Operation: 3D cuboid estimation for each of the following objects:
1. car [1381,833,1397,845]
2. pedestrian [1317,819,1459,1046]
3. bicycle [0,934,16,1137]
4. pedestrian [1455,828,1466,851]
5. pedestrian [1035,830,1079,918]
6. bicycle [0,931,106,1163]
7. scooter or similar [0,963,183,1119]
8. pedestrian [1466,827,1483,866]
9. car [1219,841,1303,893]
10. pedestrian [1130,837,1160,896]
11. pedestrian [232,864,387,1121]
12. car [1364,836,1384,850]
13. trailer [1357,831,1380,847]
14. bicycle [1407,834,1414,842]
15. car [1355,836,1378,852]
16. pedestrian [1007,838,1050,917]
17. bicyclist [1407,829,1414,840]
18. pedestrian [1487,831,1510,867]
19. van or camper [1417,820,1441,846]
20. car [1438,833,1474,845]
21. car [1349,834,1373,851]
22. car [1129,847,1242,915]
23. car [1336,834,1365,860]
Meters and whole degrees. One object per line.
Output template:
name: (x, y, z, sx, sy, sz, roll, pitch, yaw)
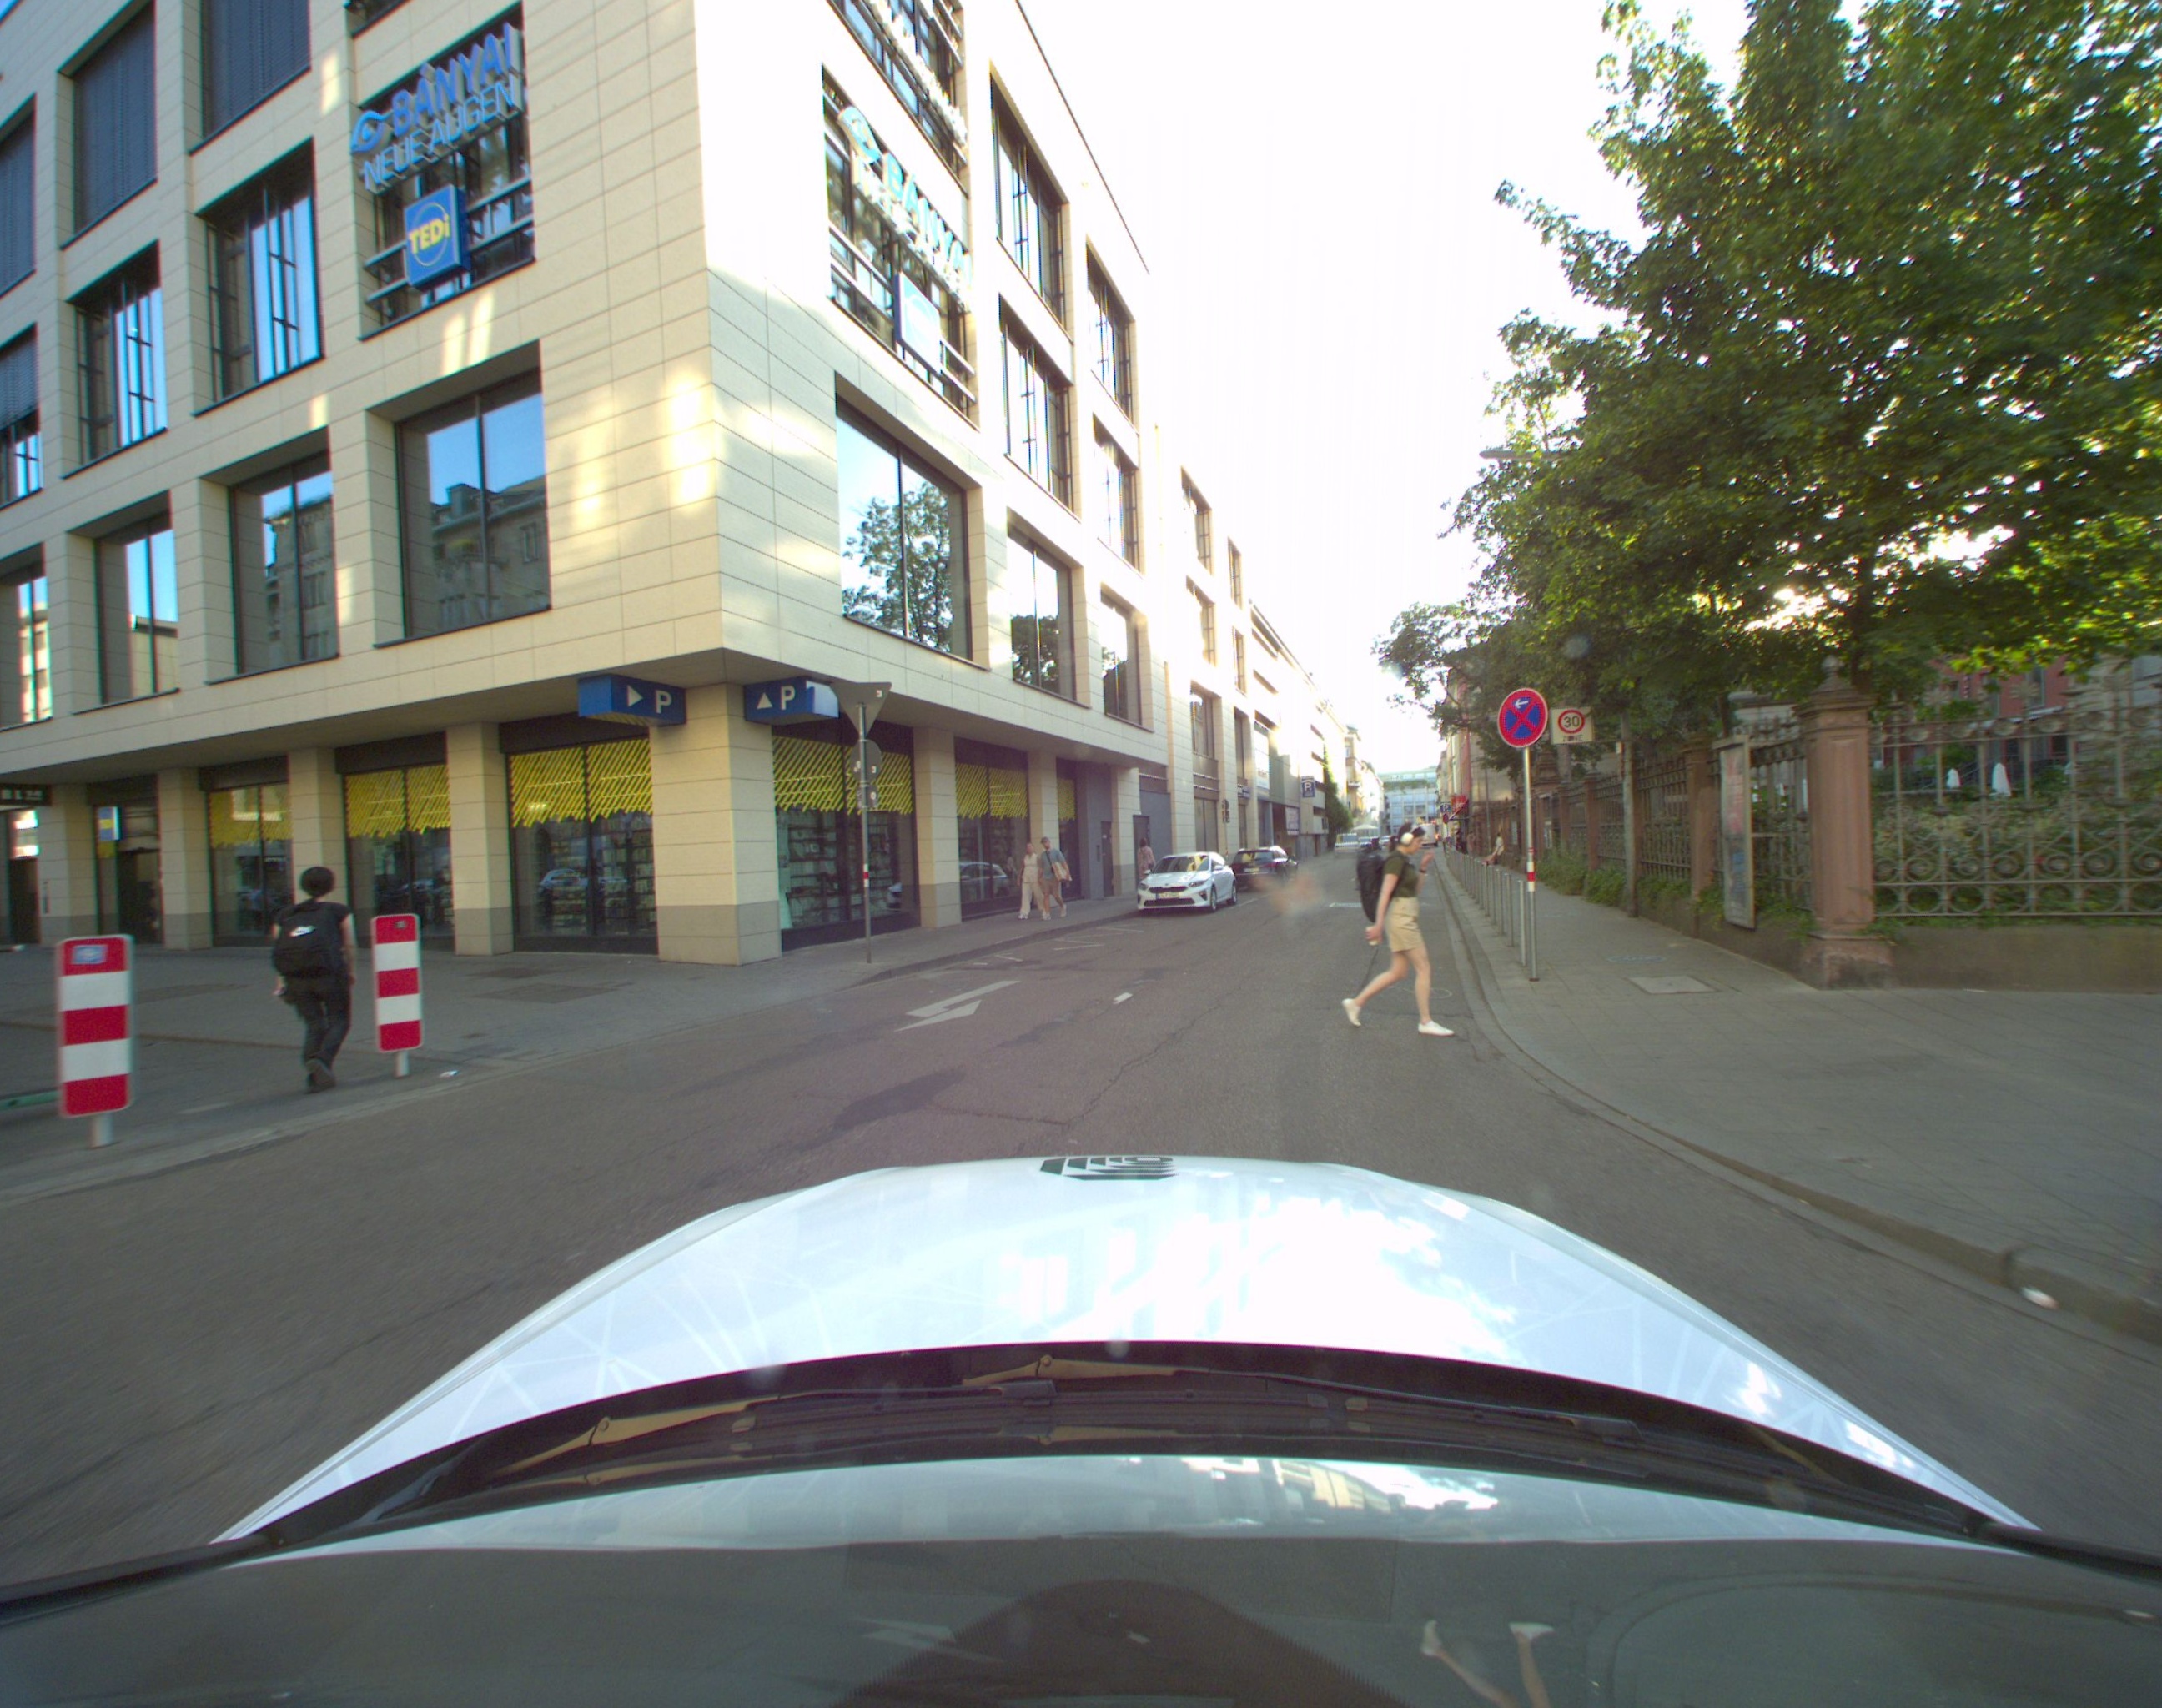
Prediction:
car: (45.049, -2.207, 119.149, 1.976, 1.684, 4.022, -2, 0, 23)
pedestrian: (2.515, 0.594, 6.719, 0.640, 1.723, 0.837, -2, 0, -33)
bicycle: (-7.337, 1.149, 4.256, 0.576, 1.255, 2.054, -2, 0, 19)
pedestrian: (28.530, -1.108, 61.216, 0.656, 1.666, 0.627, -4, 0, 23)
pedestrian: (-0.505, 0.420, 17.335, 0.666, 1.836, 0.651, -2, 0, 20)
bicycle: (-6.605, 1.117, 4.043, 0.658, 1.255, 2.151, -2, 0, 19)
scooter or similar: (-6.856, 1.249, 5.626, 0.383, 0.884, 0.774, -2, 0, 21)
pedestrian: (17.440, -0.336, 36.121, 0.480, 1.658, 0.621, -4, 0, 16)
car: (6.419, 0.408, 28.579, 1.866, 1.598, 4.717, -2, 1, 25)
pedestrian: (1.911, 0.363, 24.431, 0.666, 1.744, 0.651, -2, 0, 23)
pedestrian: (-5.480, 0.910, 5.841, 0.621, 1.658, 0.863, -2, 0, -33)
car: (31.416, -1.188, 87.252, 1.867, 1.453, 4.021, -2, 1, 21)
trailer: (29.342, -1.518, 83.005, 1.976, 1.557, 4.021, -2, 0, 22)
bicycle: (56.768, -2.755, 140.251, 0.966, 1.280, 2.769, -2, 0, 23)
car: (27.716, -0.997, 78.948, 1.867, 1.453, 4.021, -2, 1, 21)
pedestrian: (-1.137, 0.498, 17.578, 0.666, 1.675, 0.651, -2, 0, 20)
bicyclist: (56.760, -3.377, 140.291, 0.981, 1.868, 0.712, -2, 0, 23)
pedestrian: (18.179, -0.233, 35.475, 0.743, 1.499, 0.621, -4, 0, 17)
van or camper: (39.622, -2.333, 92.791, 2.238, 2.607, 5.140, -6, -2, 23)
car: (46.727, -1.832, 101.505, 3.951, 1.420, 1.666, -2, 0, 23)
car: (25.675, -1.058, 74.695, 1.867, 1.453, 4.021, -2, 1, 21)
car: (2.721, 0.602, 20.362, 1.762, 1.453, 4.253, -2, 1, 21)
car: (21.161, -0.566, 63.936, 1.867, 1.912, 4.773, -2, 1, 21)
